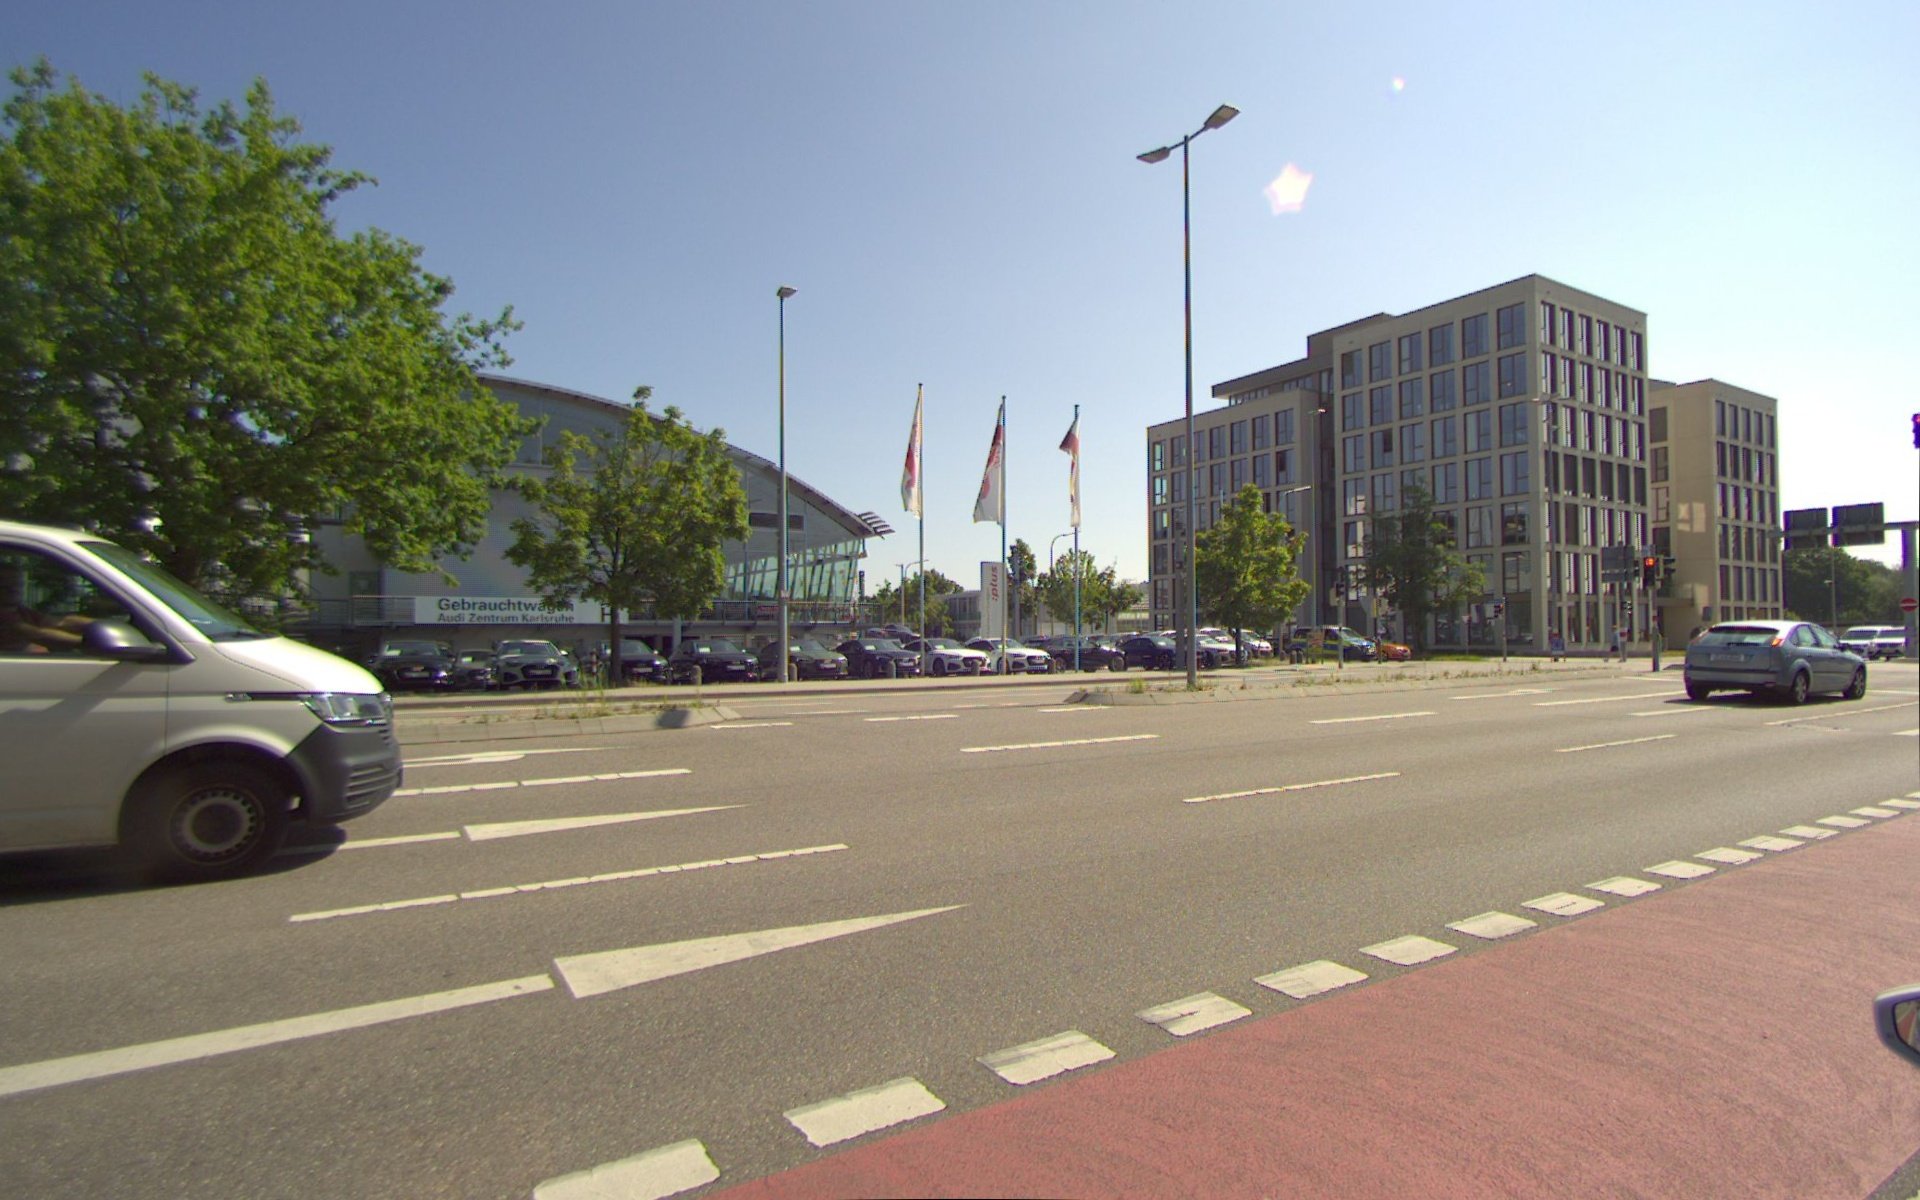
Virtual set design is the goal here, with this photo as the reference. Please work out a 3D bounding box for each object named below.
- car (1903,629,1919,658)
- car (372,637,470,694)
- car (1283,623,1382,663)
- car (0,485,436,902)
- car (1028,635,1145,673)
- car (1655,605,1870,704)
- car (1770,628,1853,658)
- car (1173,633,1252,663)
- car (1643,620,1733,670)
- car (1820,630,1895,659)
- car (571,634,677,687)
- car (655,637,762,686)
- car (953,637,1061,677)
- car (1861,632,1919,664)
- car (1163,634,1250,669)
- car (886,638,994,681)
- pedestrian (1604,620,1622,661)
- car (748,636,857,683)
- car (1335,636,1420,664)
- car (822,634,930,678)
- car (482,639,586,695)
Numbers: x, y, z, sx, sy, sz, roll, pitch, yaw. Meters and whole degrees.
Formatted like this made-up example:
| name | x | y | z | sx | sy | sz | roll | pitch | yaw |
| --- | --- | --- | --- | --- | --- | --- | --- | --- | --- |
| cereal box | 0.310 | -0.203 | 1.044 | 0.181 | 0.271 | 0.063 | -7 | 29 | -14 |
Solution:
| name | x | y | z | sx | sy | sz | roll | pitch | yaw |
| --- | --- | --- | --- | --- | --- | --- | --- | --- | --- |
| car | 51.446 | 2.275 | 52.591 | 3.950 | 1.483 | 1.809 | 1 | -3 | -28 |
| car | -14.030 | 1.660 | 26.046 | 1.978 | 1.328 | 3.965 | 1 | -3 | -33 |
| car | 20.131 | 2.324 | 54.440 | 1.977 | 2.077 | 4.892 | 1 | -3 | -30 |
| car | -5.632 | 0.484 | 5.357 | 4.920 | 2.020 | 1.872 | 1 | -2 | -33 |
| car | 4.960 | 2.087 | 39.272 | 4.385 | 1.360 | 1.697 | 0 | -2 | -29 |
| car | 15.403 | 1.003 | 19.257 | 3.955 | 1.706 | 1.983 | 1 | -3 | -32 |
| car | 43.172 | 2.178 | 50.919 | 3.950 | 1.483 | 1.885 | 1 | -3 | -28 |
| car | 12.022 | 2.253 | 47.760 | 3.381 | 1.360 | 1.697 | 0 | -2 | -29 |
| car | 21.617 | 1.302 | 29.808 | 2.767 | 1.349 | 1.209 | -1 | 1 | -31 |
| car | 49.052 | 2.427 | 54.899 | 3.950 | 1.483 | 1.809 | 1 | -3 | -28 |
| car | -9.678 | 1.697 | 28.741 | 1.978 | 1.360 | 3.965 | 1 | -3 | -33 |
| car | -7.642 | 1.825 | 30.291 | 1.978 | 1.360 | 3.965 | 1 | -3 | -33 |
| car | 1.632 | 2.027 | 36.128 | 1.978 | 1.360 | 3.965 | 1 | -3 | -33 |
| car | 45.738 | 2.321 | 48.706 | 3.950 | 1.483 | 1.809 | 1 | -3 | -28 |
| car | 10.205 | 2.122 | 41.712 | 1.625 | 1.360 | 3.398 | 0 | -3 | -29 |
| car | -0.752 | 2.022 | 34.535 | 1.978 | 1.360 | 3.965 | 1 | -3 | -33 |
| pedestrian | 33.627 | 2.064 | 51.738 | 0.745 | 2.041 | 0.932 | 0 | 1 | 33 |
| car | -5.055 | 1.854 | 31.859 | 1.979 | 1.360 | 3.964 | 1 | -3 | -34 |
| car | 23.159 | 2.772 | 55.800 | 1.977 | 1.483 | 3.969 | 1 | -3 | -30 |
| car | -2.833 | 1.826 | 33.164 | 1.978 | 1.360 | 3.965 | 1 | -3 | -33 |
| car | -11.729 | 1.788 | 27.486 | 1.978 | 1.360 | 4.128 | 1 | -3 | -33 |
